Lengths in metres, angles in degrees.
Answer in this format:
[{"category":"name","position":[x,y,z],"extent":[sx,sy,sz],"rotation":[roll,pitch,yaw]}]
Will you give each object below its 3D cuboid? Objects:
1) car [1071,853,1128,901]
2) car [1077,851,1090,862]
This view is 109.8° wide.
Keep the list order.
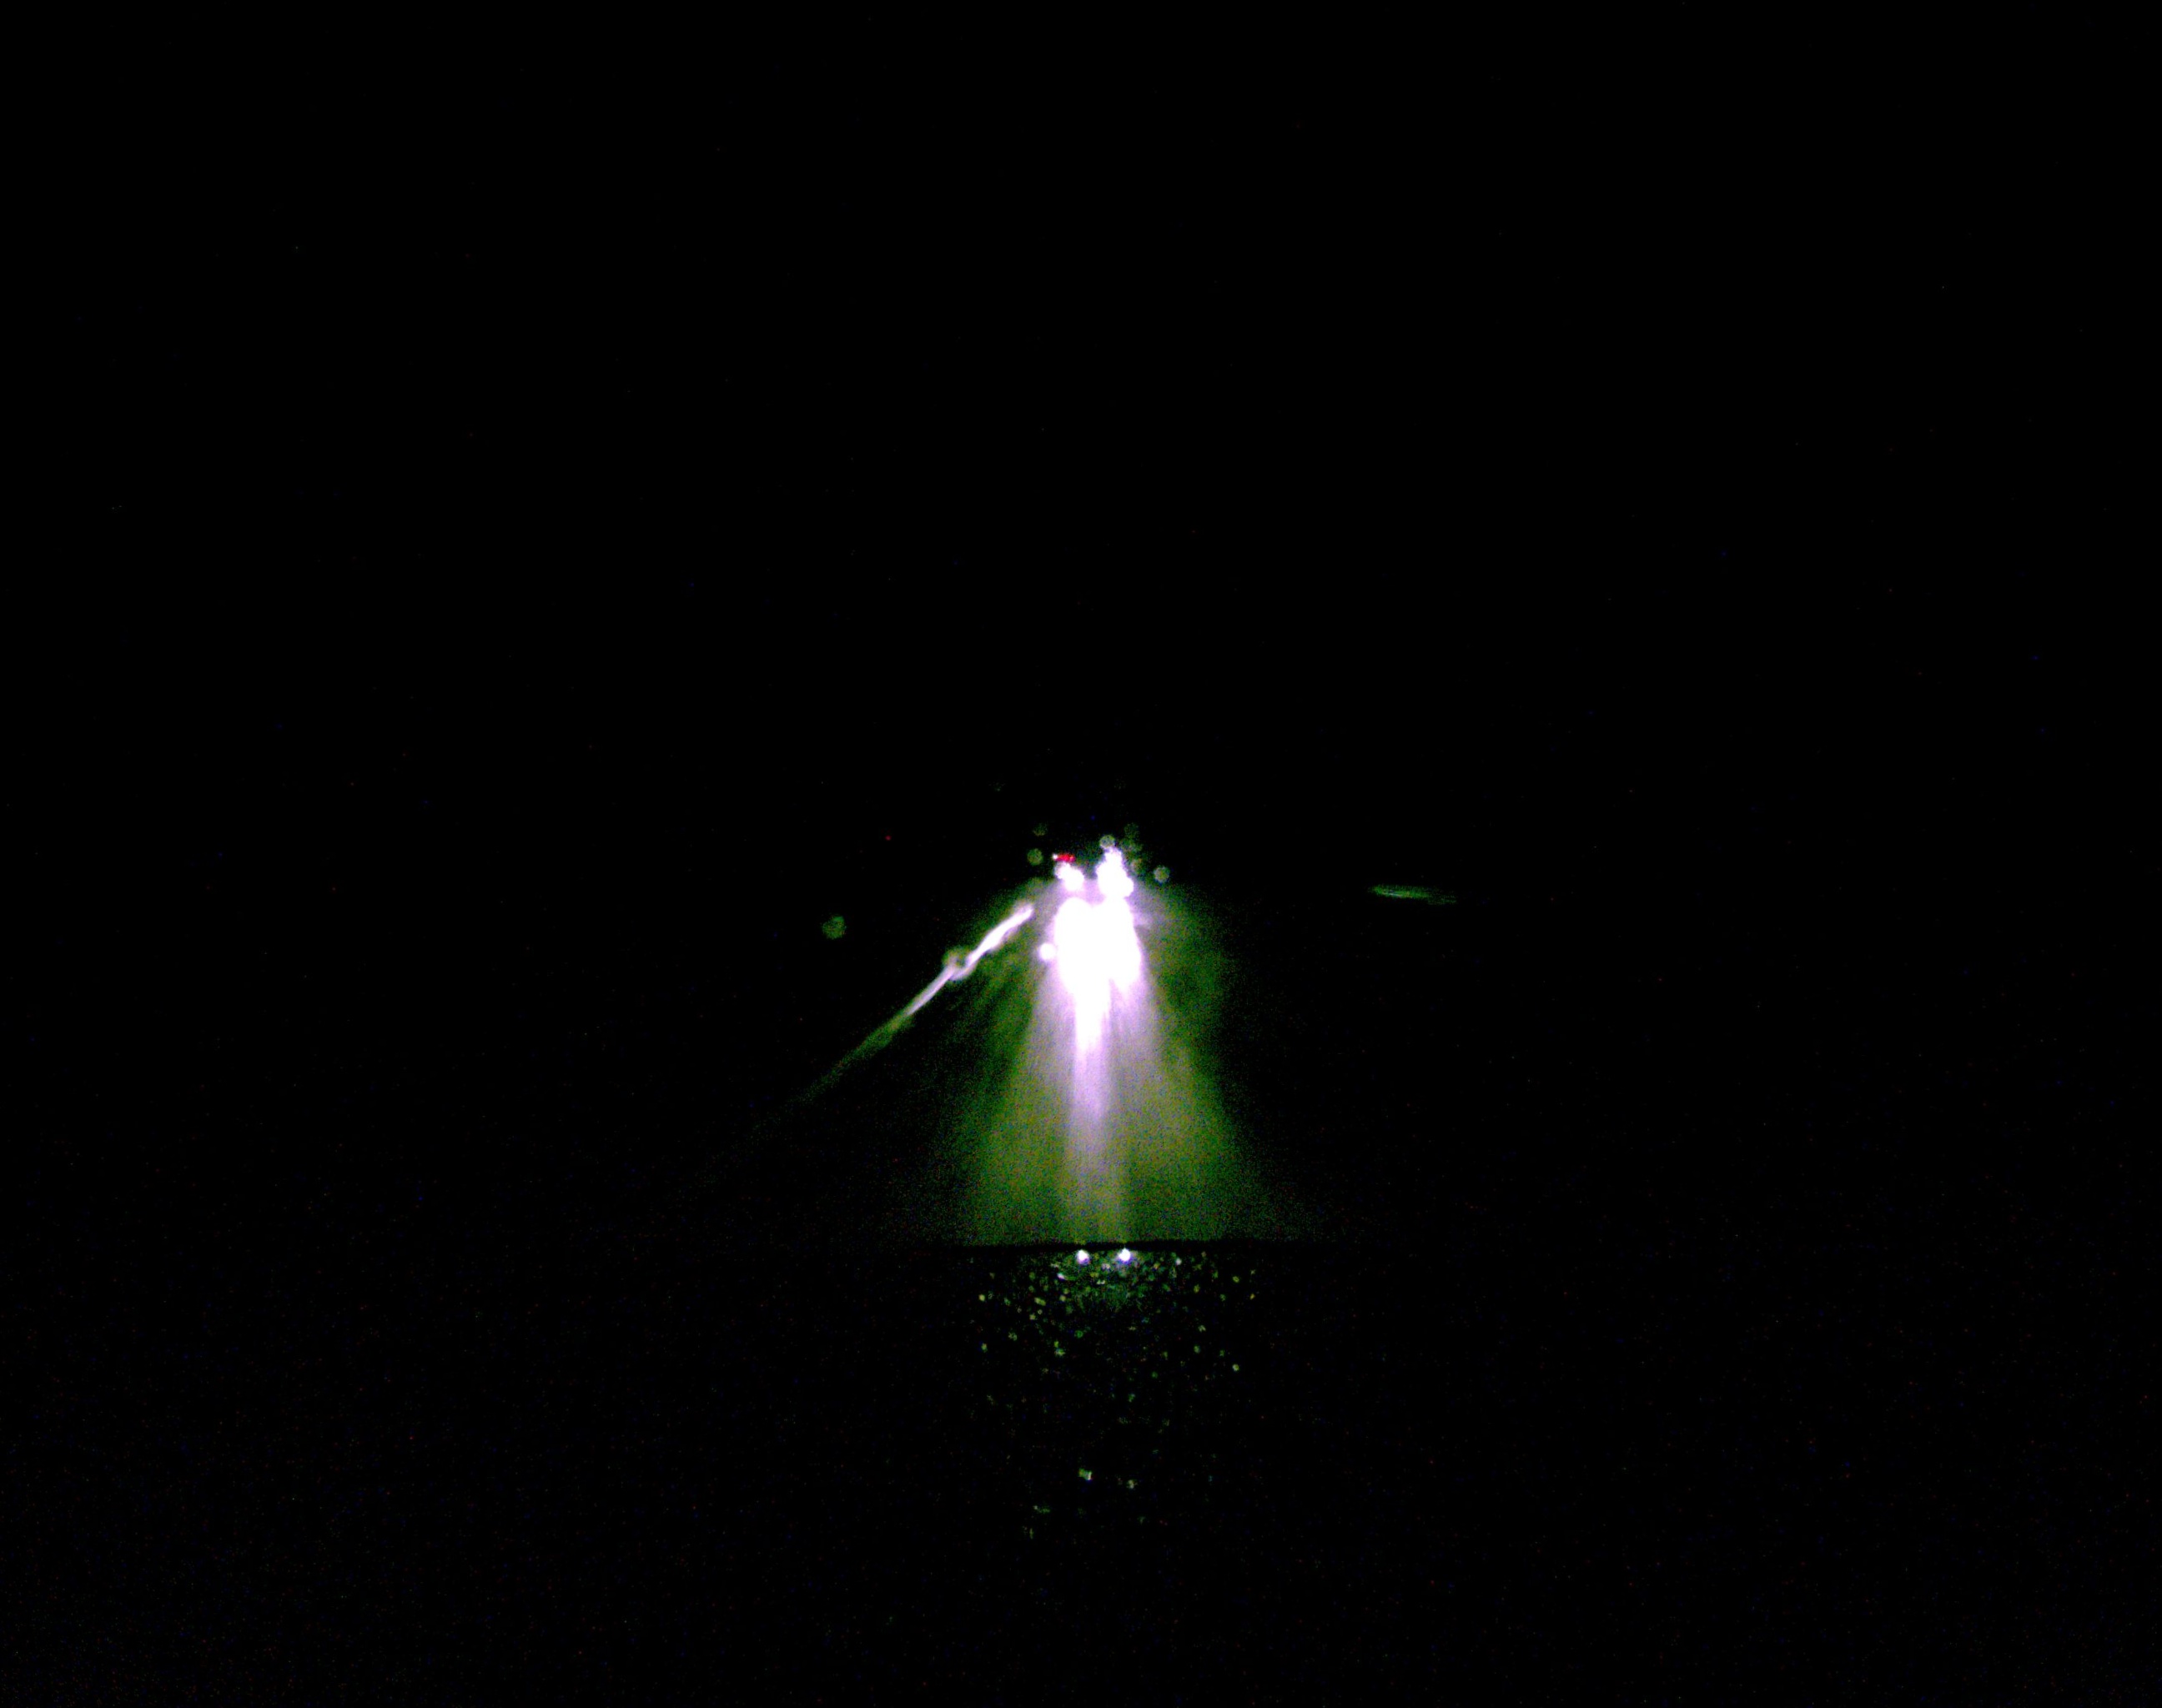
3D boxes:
[{"category":"car","position":[0.624,0.808,28.914],"extent":[1.863,1.601,4.418],"rotation":[-3,0,-2]},{"category":"car","position":[0.407,0.302,116.256],"extent":[1.894,1.628,4.155],"rotation":[0,1,-1]}]
